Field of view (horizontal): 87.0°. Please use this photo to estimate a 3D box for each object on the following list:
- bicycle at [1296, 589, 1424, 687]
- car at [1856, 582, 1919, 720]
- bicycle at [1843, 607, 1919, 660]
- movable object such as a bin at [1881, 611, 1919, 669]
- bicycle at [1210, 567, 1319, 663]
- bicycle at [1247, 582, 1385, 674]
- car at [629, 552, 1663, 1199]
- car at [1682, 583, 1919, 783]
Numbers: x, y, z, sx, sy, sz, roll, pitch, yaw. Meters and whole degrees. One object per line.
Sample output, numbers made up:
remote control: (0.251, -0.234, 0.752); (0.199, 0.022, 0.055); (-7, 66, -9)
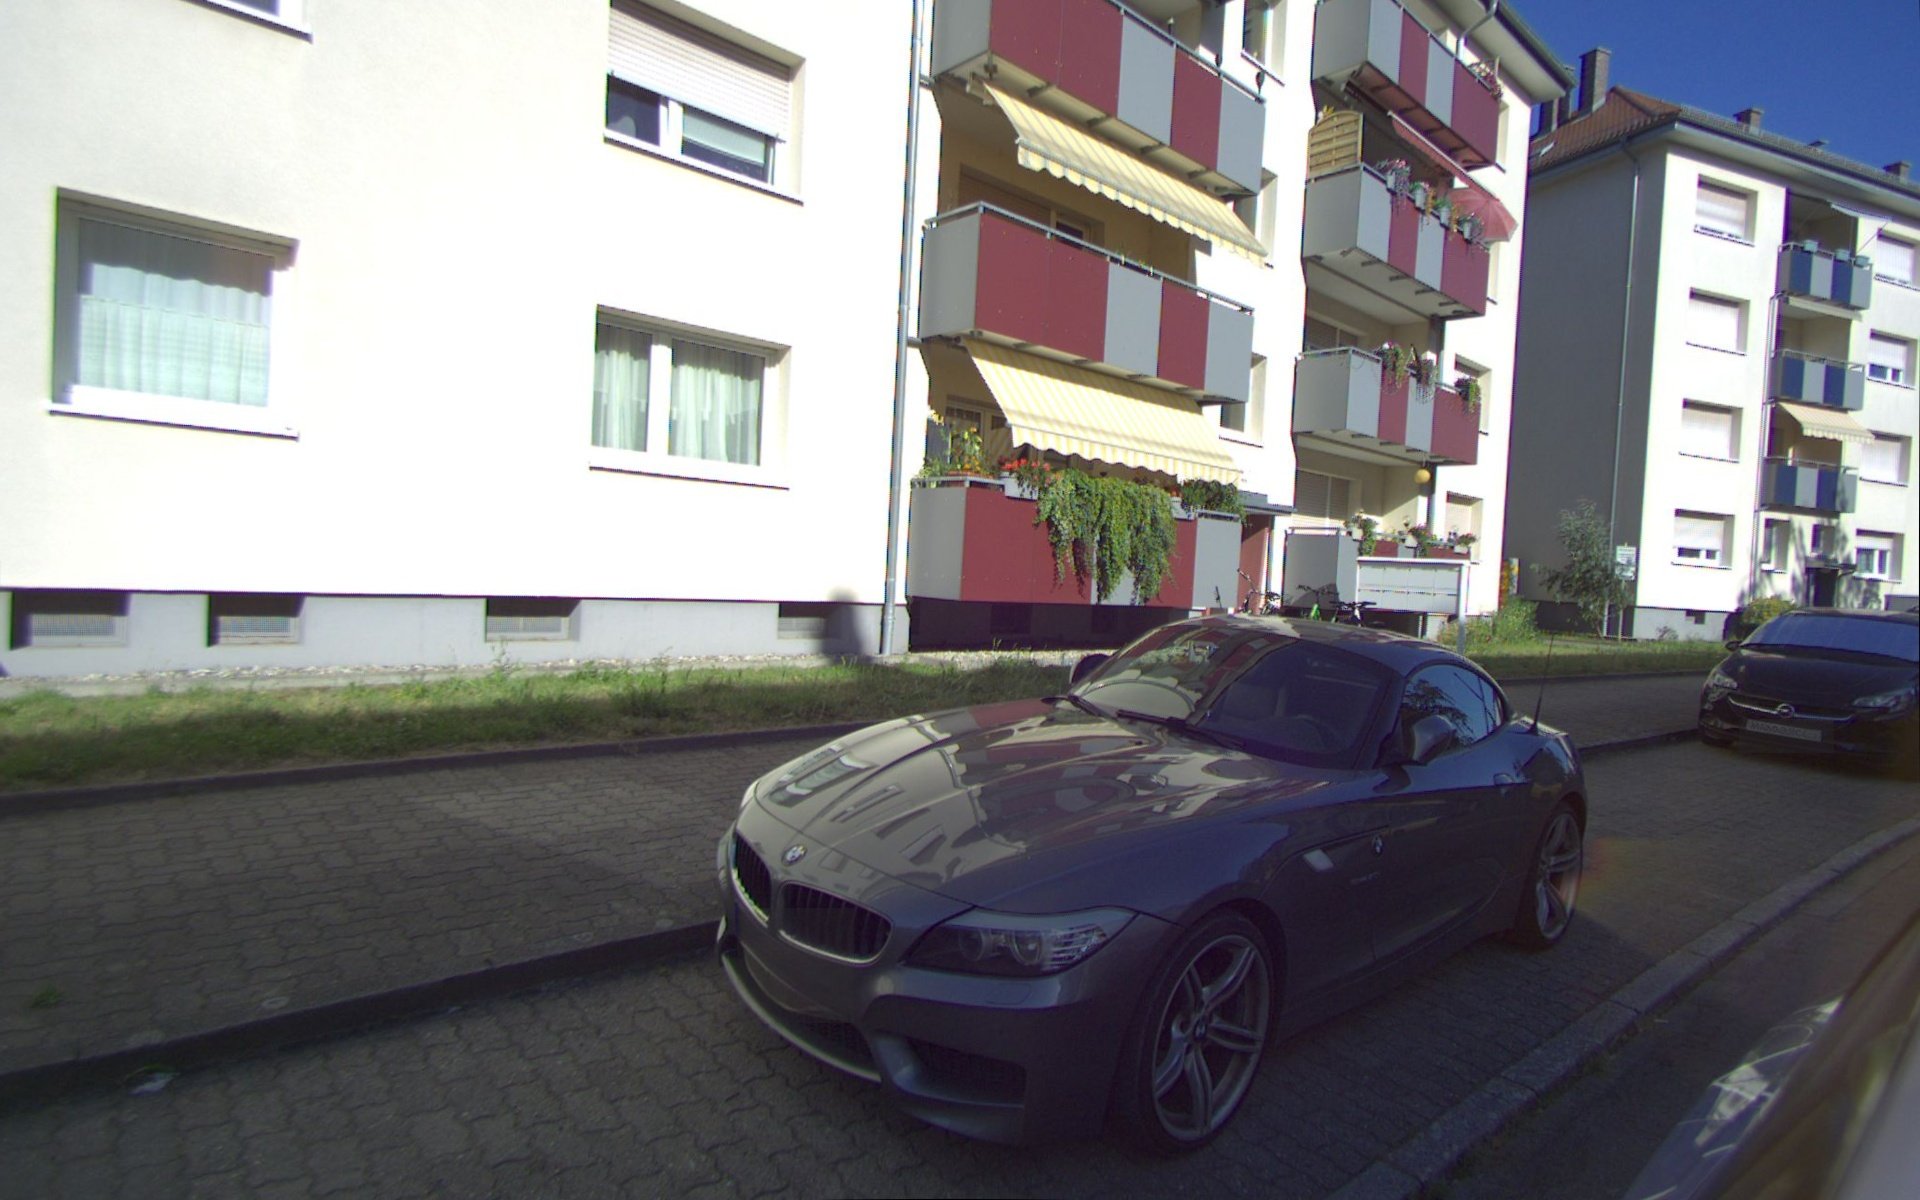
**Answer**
bicycle: (4.704, 0.424, 11.851); (1.808, 1.032, 0.499); (1, 4, -39)
car: (13.545, 0.660, 13.278); (3.965, 1.655, 1.772); (0, 4, -36)
bicycle: (23.049, 0.846, 25.313); (1.795, 1.217, 0.518); (2, 4, -19)
movable object such as a bin: (19.512, 0.817, 20.787); (0.668, 1.108, 0.587); (2, 4, -25)
bicycle: (4.007, 0.189, 13.247); (1.731, 1.164, 0.408); (0, 4, -40)
bicycle: (4.376, 0.355, 12.381); (1.861, 0.989, 0.619); (3, 5, -39)
car: (1.078, 0.641, 3.986); (4.165, 1.379, 1.690); (1, 5, -41)
car: (9.164, 0.715, 10.281); (3.812, 1.526, 1.742); (1, 5, -36)
